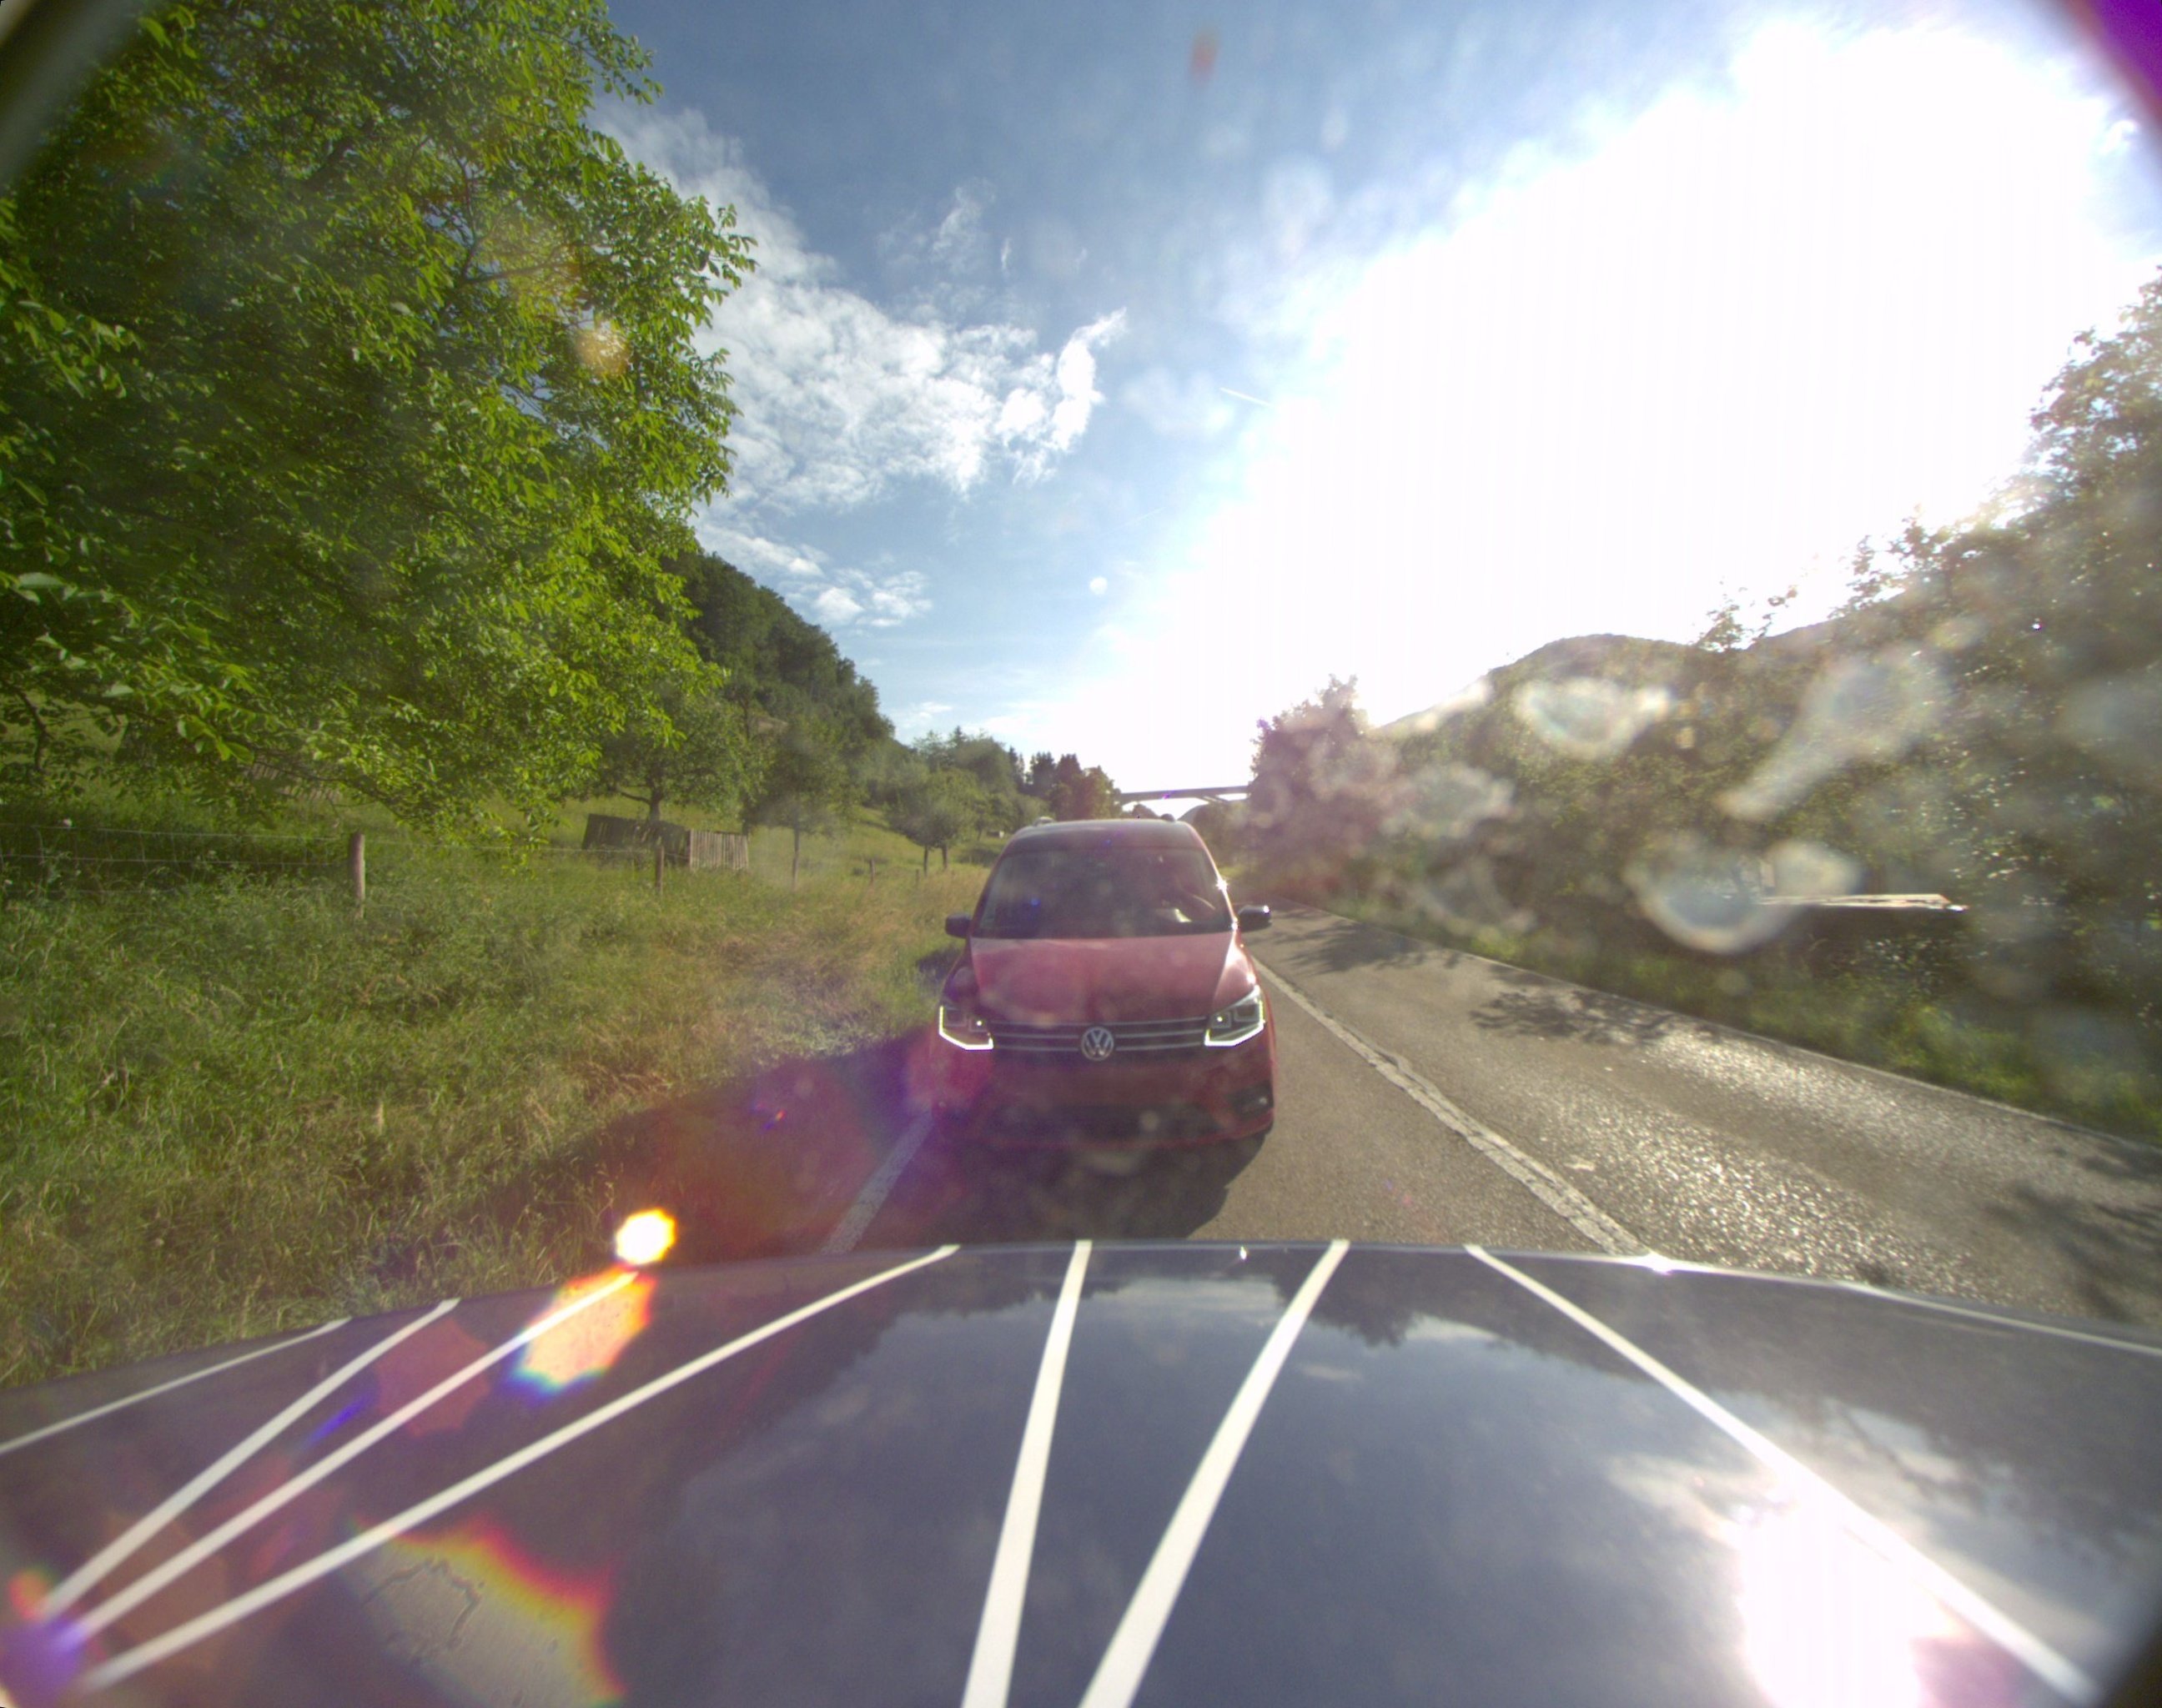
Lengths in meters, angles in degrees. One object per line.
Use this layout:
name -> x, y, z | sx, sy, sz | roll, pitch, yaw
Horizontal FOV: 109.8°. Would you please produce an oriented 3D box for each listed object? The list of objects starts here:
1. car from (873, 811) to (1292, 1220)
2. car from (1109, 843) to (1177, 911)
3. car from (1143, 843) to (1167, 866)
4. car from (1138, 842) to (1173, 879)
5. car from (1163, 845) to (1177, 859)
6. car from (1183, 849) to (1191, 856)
car -> 0.145, 0.688, 5.513 | 1.759, 1.745, 4.430 | -2, 1, 4
car -> 1.825, 0.589, 22.337 | 1.758, 1.745, 4.001 | -2, 1, 5
car -> 6.800, 0.051, 70.386 | 1.998, 2.002, 4.000 | -2, 1, 4
car -> 4.145, 0.329, 42.366 | 1.758, 1.926, 4.001 | -2, 1, 5
car -> 13.361, -0.289, 114.435 | 1.998, 2.002, 4.001 | -2, 1, 6
car -> 22.476, -0.407, 161.544 | 1.597, 1.346, 4.205 | -2, 1, 8
